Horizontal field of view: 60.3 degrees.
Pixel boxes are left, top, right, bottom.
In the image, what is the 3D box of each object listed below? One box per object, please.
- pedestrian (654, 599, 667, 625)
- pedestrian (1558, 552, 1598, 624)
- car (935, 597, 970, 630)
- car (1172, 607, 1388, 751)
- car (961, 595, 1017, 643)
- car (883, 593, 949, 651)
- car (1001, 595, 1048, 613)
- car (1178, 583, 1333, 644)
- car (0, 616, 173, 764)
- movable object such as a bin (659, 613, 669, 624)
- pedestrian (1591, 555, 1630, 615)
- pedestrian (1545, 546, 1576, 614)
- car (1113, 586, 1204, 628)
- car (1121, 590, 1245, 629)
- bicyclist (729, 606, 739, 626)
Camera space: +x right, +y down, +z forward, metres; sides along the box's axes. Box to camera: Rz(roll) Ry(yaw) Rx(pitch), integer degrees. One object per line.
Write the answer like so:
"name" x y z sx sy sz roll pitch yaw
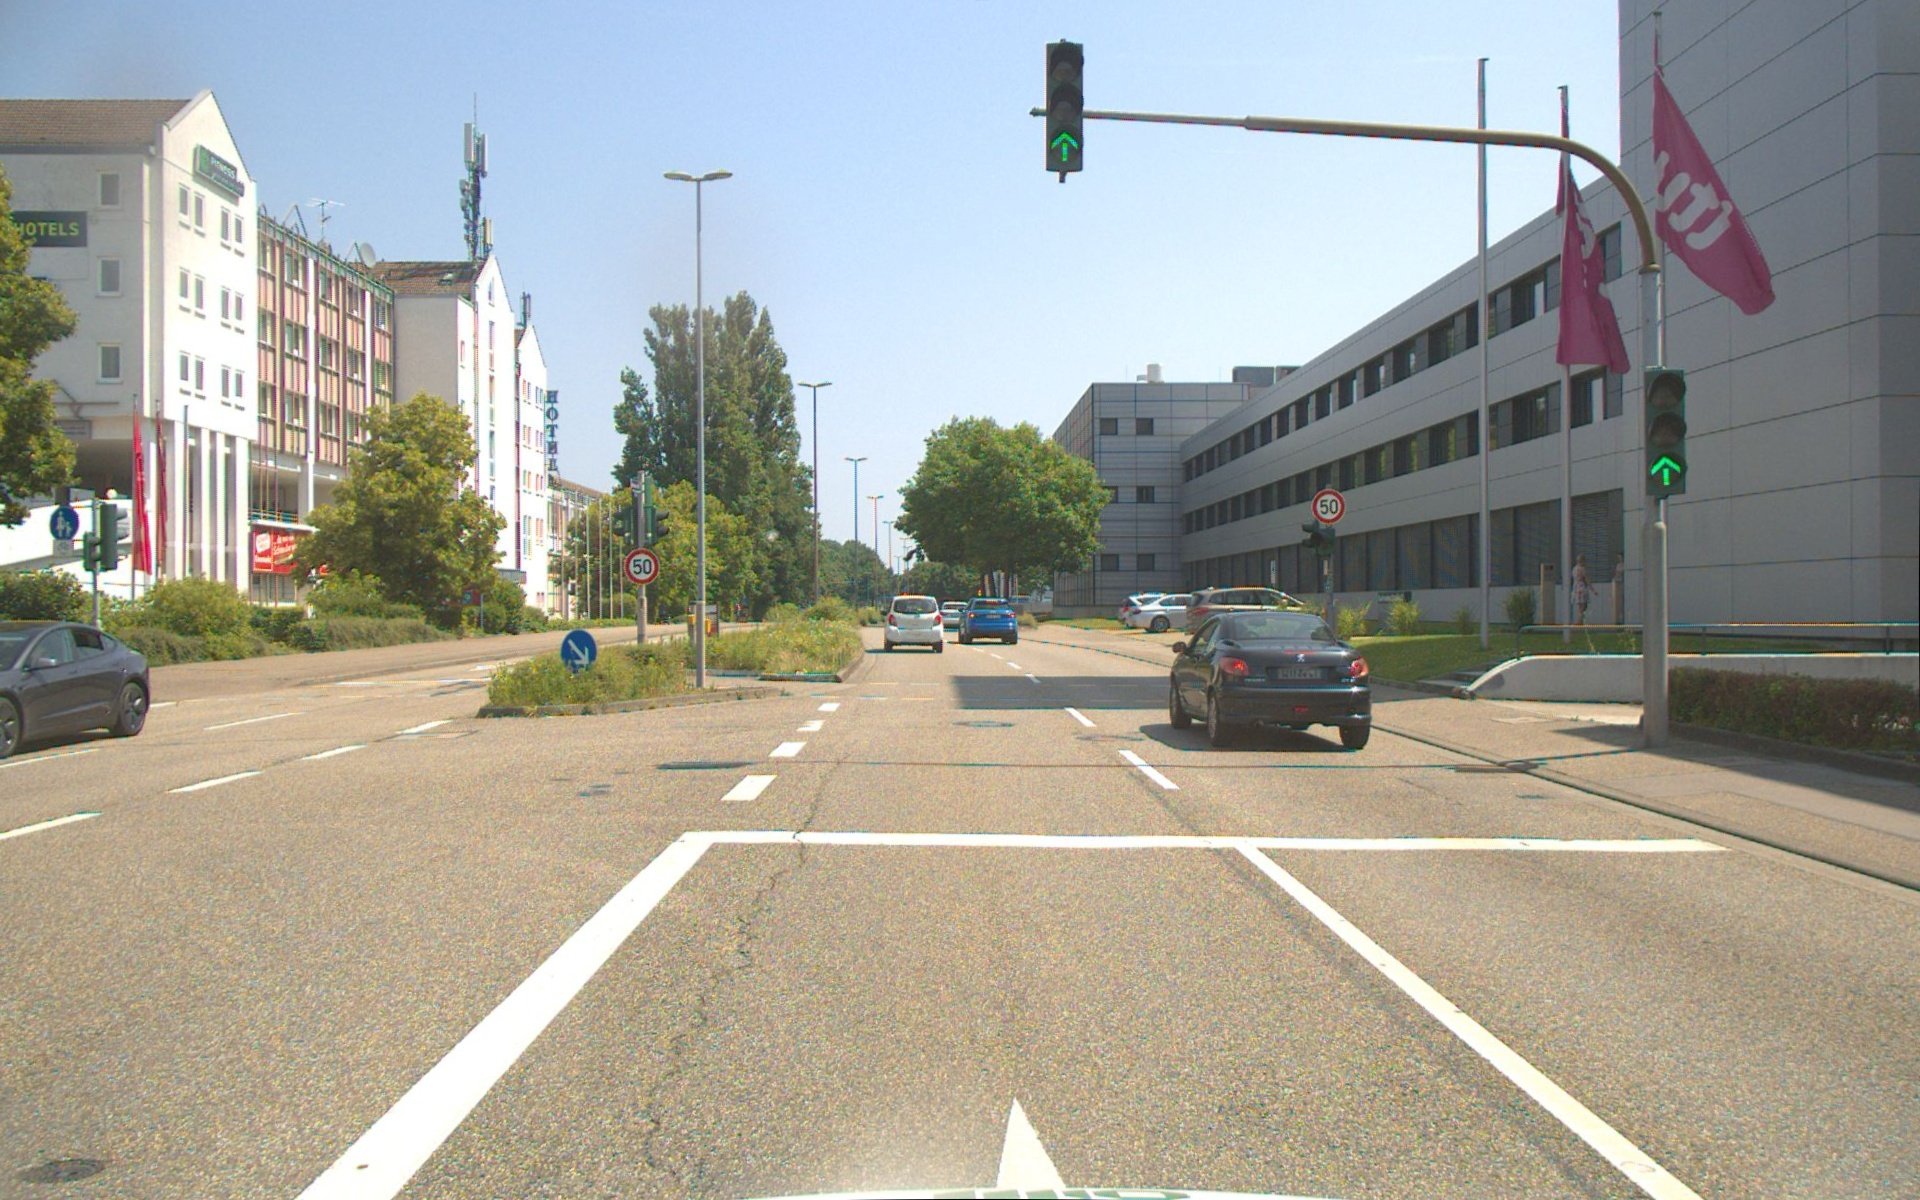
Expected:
"pedestrian" -18.988 0.762 104.877 0.620 1.572 0.727 -1 -1 -1
"pedestrian" 14.749 -0.283 39.505 0.513 1.692 0.753 -1 0 -18
"car" -0.346 0.642 80.436 1.527 1.546 3.606 -1 0 2
"car" 3.393 0.785 18.136 1.594 1.388 3.604 0 0 -2
"car" 0.975 0.638 57.614 1.791 1.608 3.604 -1 0 -2
"car" -1.200 0.584 46.498 1.712 1.546 3.746 0 0 0
"car" 6.279 0.386 161.776 4.408 1.610 1.999 -2 -1 -2
"car" 8.812 0.394 49.543 4.176 1.718 1.998 -1 0 -6
"car" -11.125 0.989 19.099 1.953 1.512 4.500 -1 0 -1
"movable object such as a bin" -18.687 1.171 104.392 0.419 0.718 0.652 -1 -1 7
"pedestrian" 15.624 -0.357 39.730 0.512 1.430 0.797 -1 0 -11
"pedestrian" 14.806 -0.493 40.809 0.580 1.663 0.524 -1 0 7
"car" 8.884 0.319 74.150 3.739 1.619 1.730 -3 0 -6
"car" 8.787 0.365 65.294 4.523 1.414 1.998 -1 0 -6
"bicyclist" -17.749 1.223 129.748 0.703 1.542 1.026 -1 -1 -5
